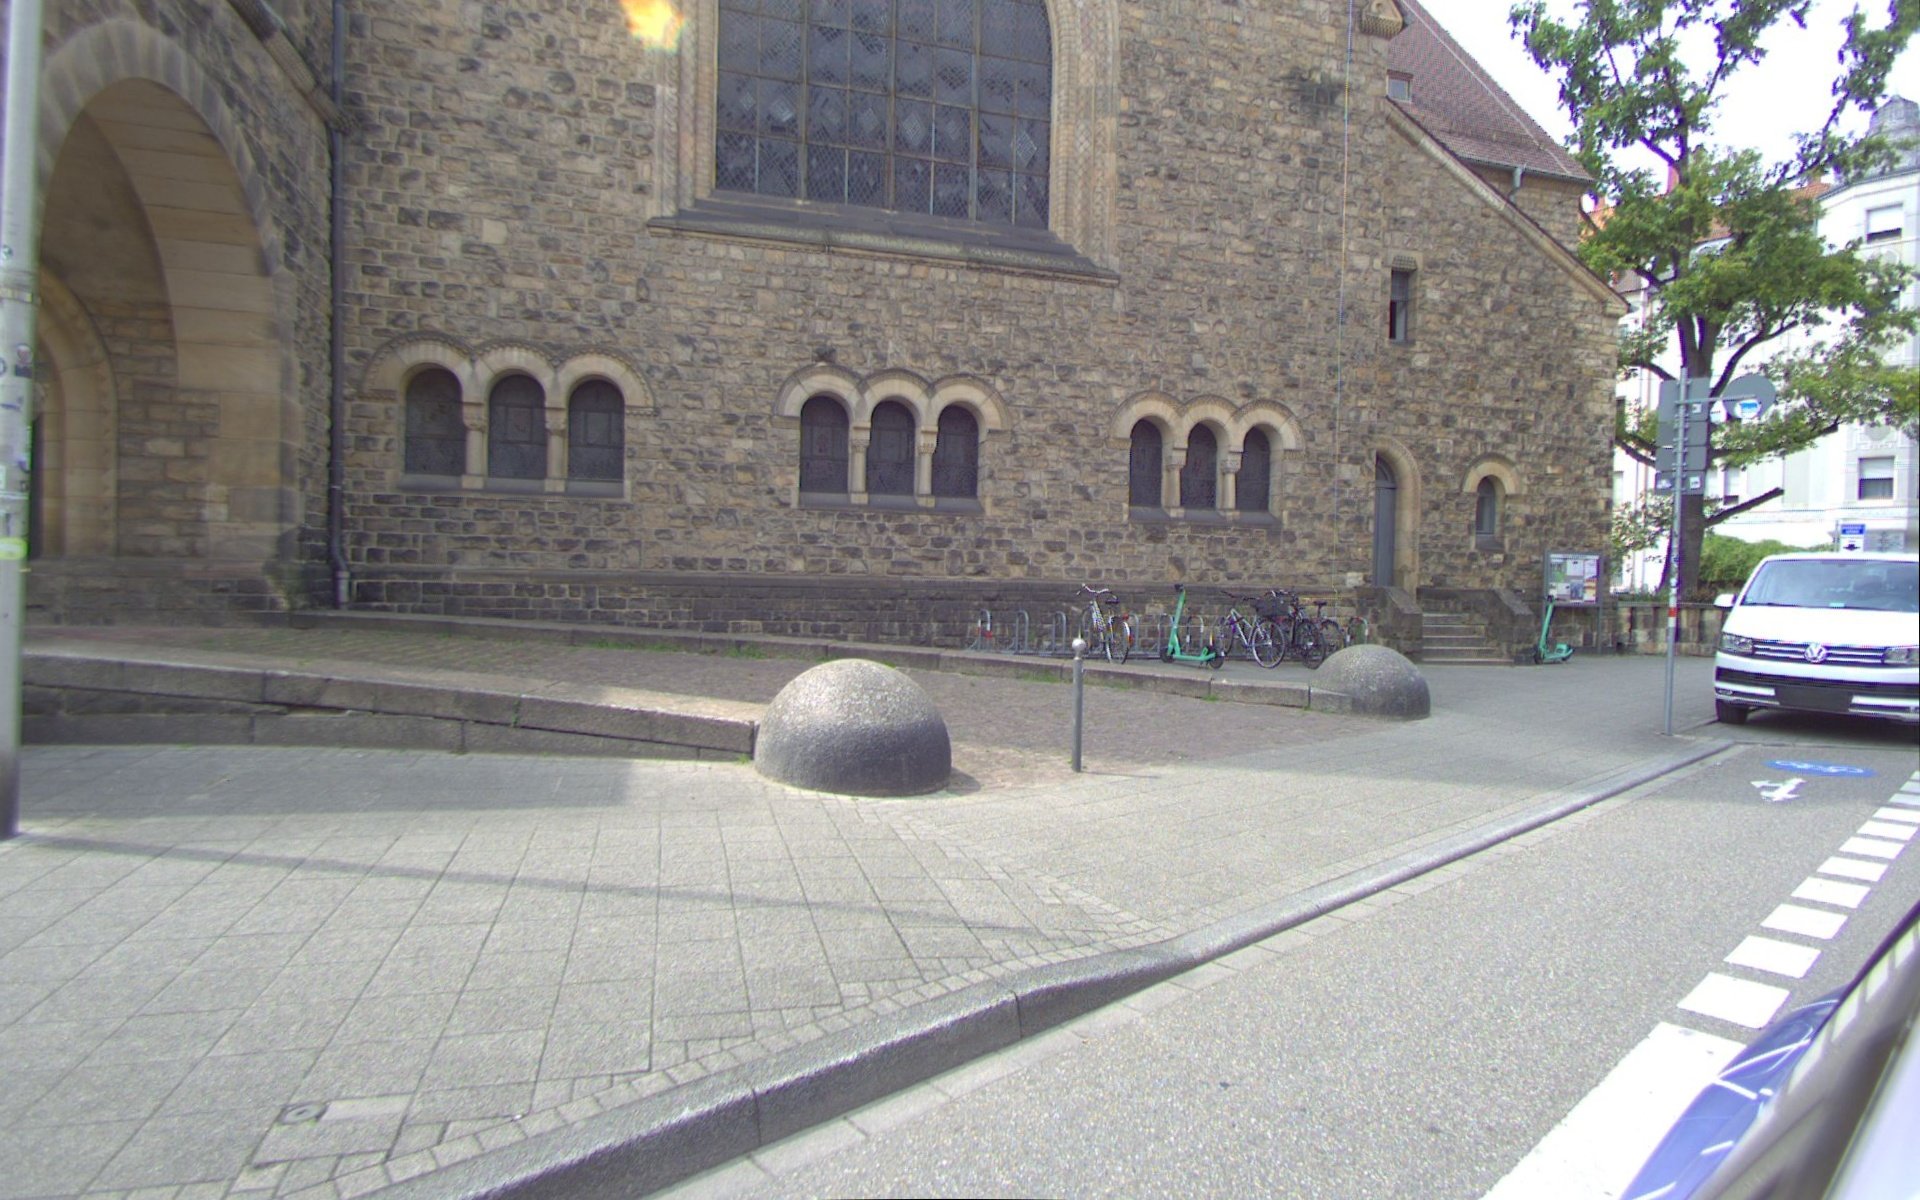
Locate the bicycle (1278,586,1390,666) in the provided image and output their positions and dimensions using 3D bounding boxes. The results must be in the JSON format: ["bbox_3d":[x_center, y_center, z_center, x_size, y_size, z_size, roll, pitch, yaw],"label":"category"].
[{"bbox_3d":[5.738,0.370,15.642,0.534,1.125,1.786,1,1,-21],"label":"bicycle"}]

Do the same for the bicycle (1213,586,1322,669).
[{"bbox_3d":[4.579,0.379,15.198,0.534,1.125,1.786,1,1,-21],"label":"bicycle"}]

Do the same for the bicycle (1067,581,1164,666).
[{"bbox_3d":[2.213,0.306,14.609,0.534,1.125,1.786,1,1,-21],"label":"bicycle"}]

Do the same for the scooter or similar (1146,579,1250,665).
[{"bbox_3d":[3.459,0.290,14.848,0.534,1.154,1.786,1,1,-21],"label":"scooter or similar"}]

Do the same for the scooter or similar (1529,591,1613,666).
[{"bbox_3d":[10.430,0.486,17.271,1.413,1.222,0.547,1,1,-27],"label":"scooter or similar"}]

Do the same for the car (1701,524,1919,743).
[{"bbox_3d":[10.441,0.267,11.668,5.035,2.054,2.018,0,3,-42],"label":"car"}]

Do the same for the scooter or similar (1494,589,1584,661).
[{"bbox_3d":[10.258,0.445,17.933,1.450,1.222,0.547,1,1,-21],"label":"scooter or similar"}]

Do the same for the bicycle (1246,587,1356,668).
[{"bbox_3d":[5.150,0.390,15.397,0.534,1.125,1.779,1,1,-21],"label":"bicycle"}]

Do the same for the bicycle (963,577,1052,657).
[{"bbox_3d":[0.628,0.211,14.189,0.534,0.969,1.787,1,3,-21],"label":"bicycle"}]

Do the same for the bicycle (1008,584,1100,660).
[{"bbox_3d":[1.300,0.288,14.396,0.534,0.969,1.786,1,1,-21],"label":"bicycle"}]
